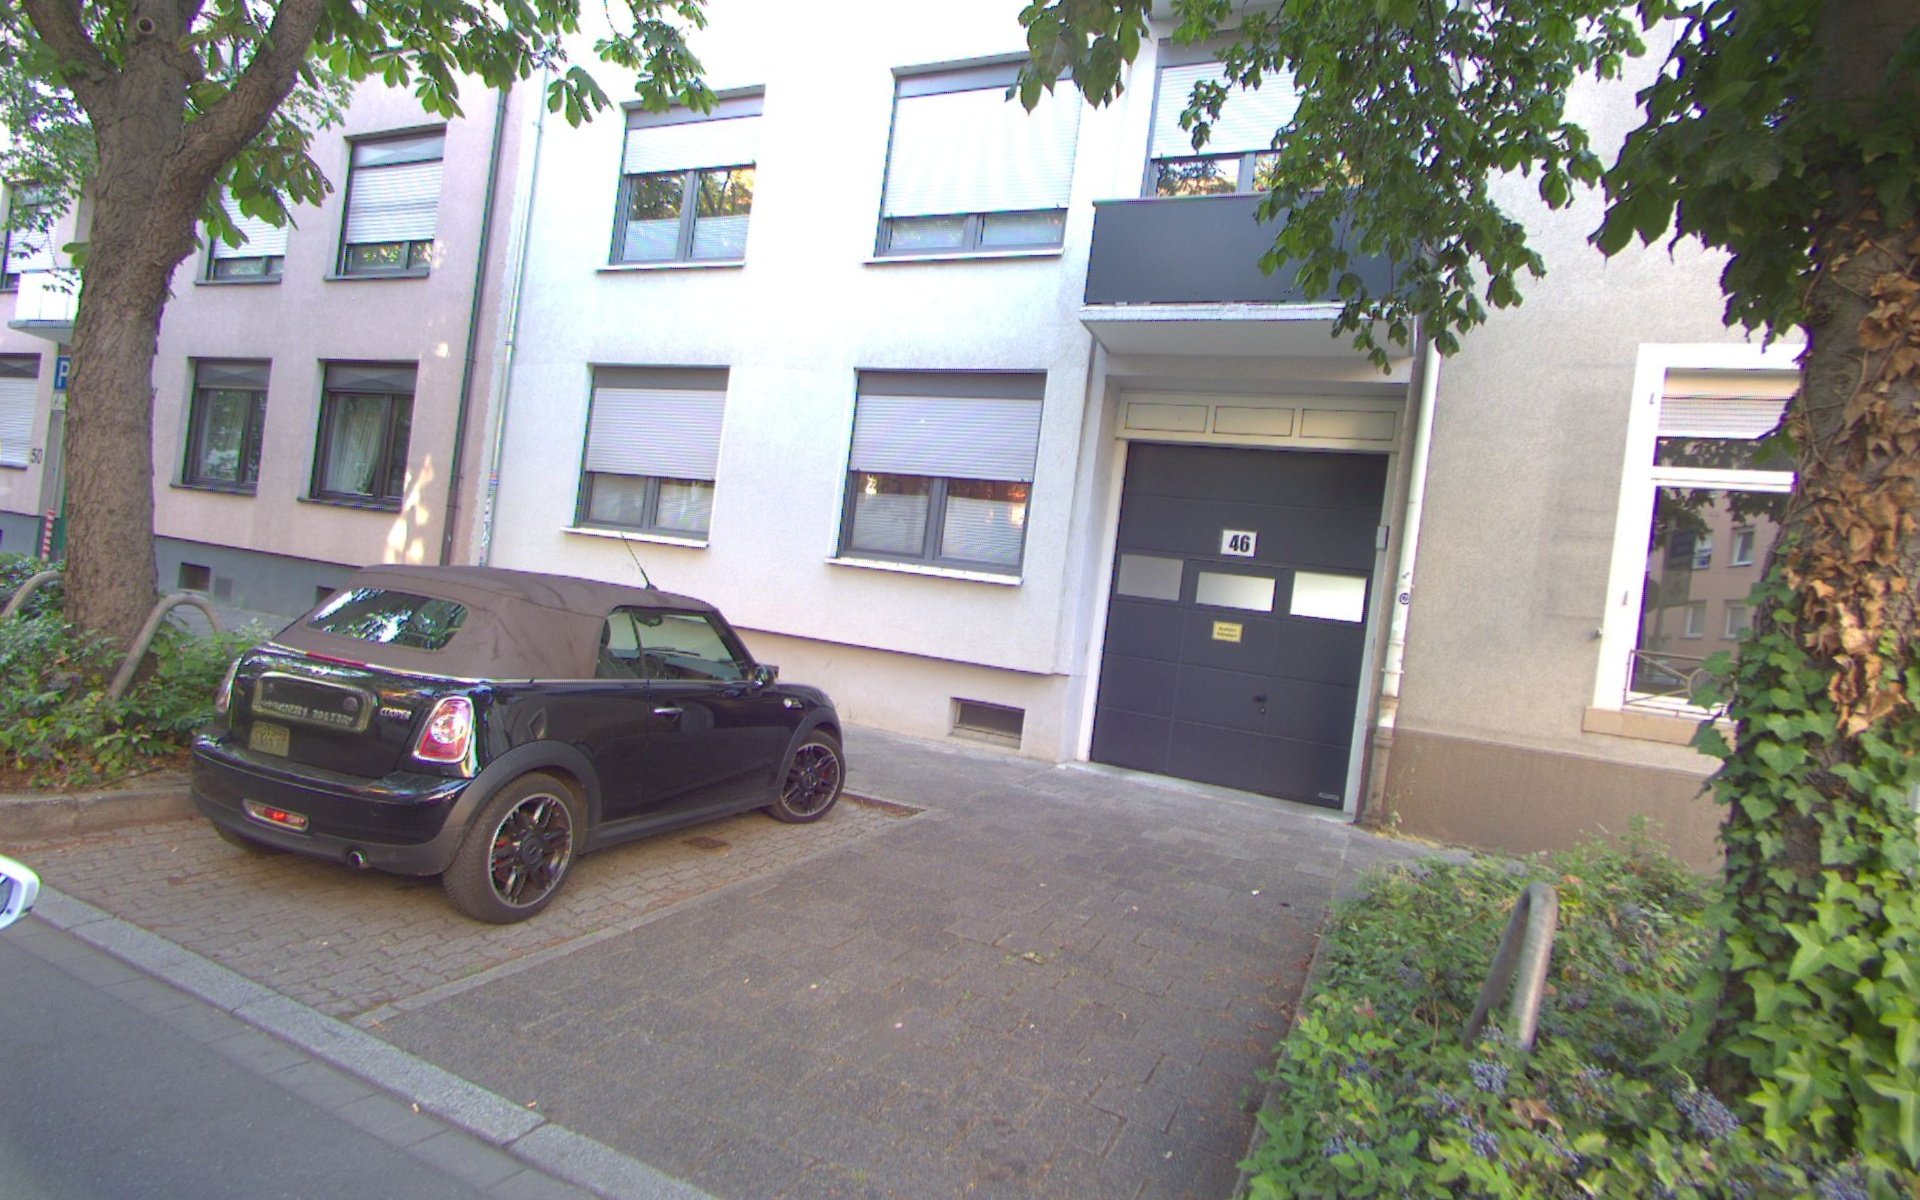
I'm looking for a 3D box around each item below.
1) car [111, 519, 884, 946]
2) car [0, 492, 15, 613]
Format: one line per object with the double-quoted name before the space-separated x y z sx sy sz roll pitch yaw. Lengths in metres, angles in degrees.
"car" -2.019 0.555 5.530 1.634 1.380 3.622 7 -1 22
"car" -13.348 -0.799 11.044 1.634 1.494 3.921 7 -1 24
